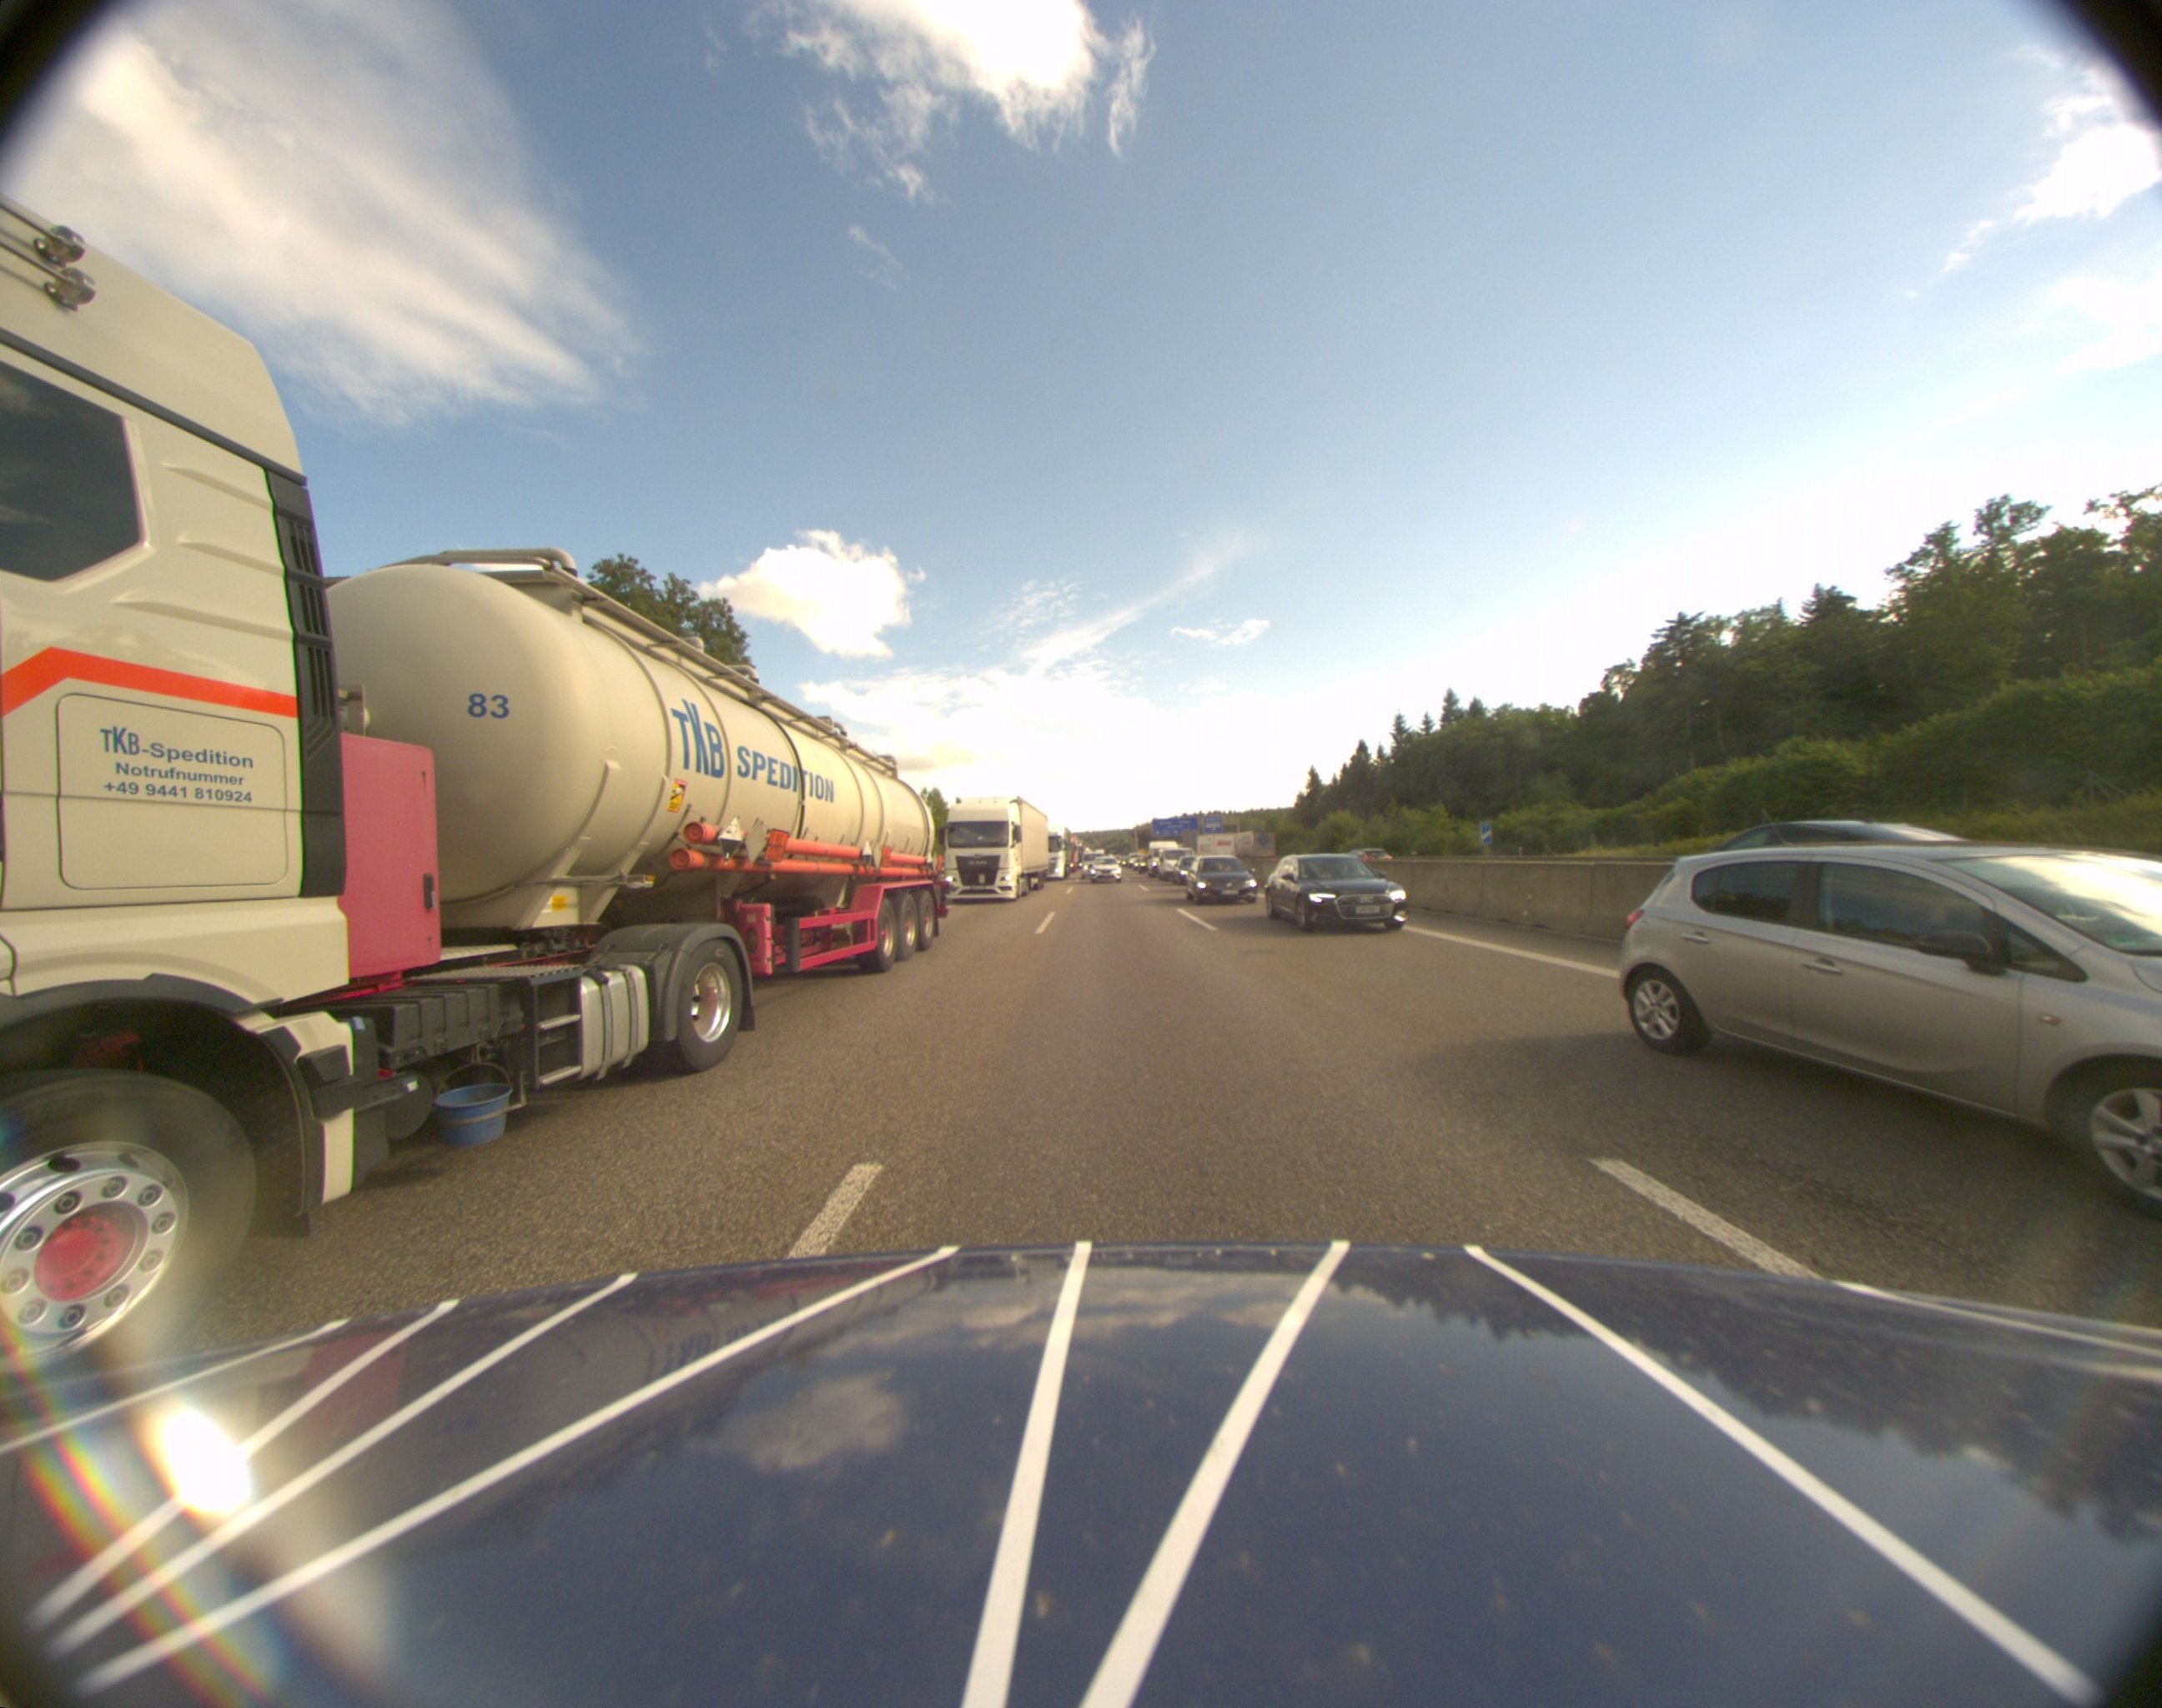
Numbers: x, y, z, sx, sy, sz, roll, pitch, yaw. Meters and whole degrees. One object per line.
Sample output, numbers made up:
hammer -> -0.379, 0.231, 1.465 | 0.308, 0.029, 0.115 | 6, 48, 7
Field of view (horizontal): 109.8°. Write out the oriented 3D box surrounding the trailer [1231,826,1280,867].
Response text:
trailer -> 22.036, -0.983, 96.870 | 2.934, 4.802, 14.652 | -2, 1, 1

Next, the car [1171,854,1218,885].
car -> 5.755, 0.754, 38.935 | 1.809, 1.423, 3.994 | -2, 0, 1

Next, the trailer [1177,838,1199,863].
trailer -> 24.082, -0.913, 171.974 | 3.050, 5.250, 13.833 | -2, 1, 1

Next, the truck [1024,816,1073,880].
truck -> -2.200, -0.383, 53.703 | 2.841, 4.177, 5.708 | -2, 0, 2

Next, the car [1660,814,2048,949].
car -> 12.461, 0.376, 12.832 | 1.857, 1.799, 4.624 | -2, 0, 1

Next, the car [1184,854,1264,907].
car -> 4.410, 0.763, 24.131 | 1.915, 1.469, 4.569 | -2, 0, 3

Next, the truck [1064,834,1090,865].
truck -> -0.410, -0.681, 108.209 | 2.840, 4.178, 12.046 | -2, 1, 3

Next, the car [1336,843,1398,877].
car -> 16.487, 0.322, 44.102 | 1.857, 1.799, 4.624 | -2, 0, 1

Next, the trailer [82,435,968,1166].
trailer -> -3.954, -0.294, 9.847 | 2.805, 4.003, 11.183 | -2, 0, 2

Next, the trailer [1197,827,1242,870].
trailer -> 17.542, -0.714, 97.096 | 3.096, 5.044, 13.833 | -2, 1, 0

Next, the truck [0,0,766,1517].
truck -> -4.201, -0.264, 3.399 | 2.809, 4.020, 5.904 | -2, 0, 2

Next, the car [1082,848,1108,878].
car -> 1.048, 0.625, 56.503 | 1.809, 2.052, 4.770 | -2, 0, 1

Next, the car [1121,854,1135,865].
car -> 6.910, 0.779, 112.087 | 1.920, 1.535, 3.811 | -2, 0, 1

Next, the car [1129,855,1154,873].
car -> 5.059, 0.827, 64.016 | 1.809, 1.423, 3.660 | -2, 0, 1

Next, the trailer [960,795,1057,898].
trailer -> -3.102, -0.335, 37.026 | 2.832, 4.047, 13.373 | -2, 0, 2

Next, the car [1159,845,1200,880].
car -> 5.914, 0.481, 46.073 | 1.947, 1.953, 4.848 | -2, 0, 1

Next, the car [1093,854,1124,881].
car -> 1.664, 0.805, 46.808 | 1.809, 1.487, 4.666 | -1, 0, 1

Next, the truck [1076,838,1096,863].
truck -> 0.930, -0.709, 136.511 | 2.840, 4.178, 12.046 | -2, 1, 3

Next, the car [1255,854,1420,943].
car -> 5.031, 0.782, 15.676 | 1.887, 1.463, 4.852 | -2, 0, 2

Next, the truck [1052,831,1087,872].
truck -> -1.112, -0.319, 84.079 | 2.840, 4.178, 12.046 | -2, 1, 3

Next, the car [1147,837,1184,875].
car -> 5.988, 0.140, 54.408 | 2.054, 2.557, 5.861 | -1, 0, 1

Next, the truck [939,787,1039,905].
truck -> -3.387, -0.301, 29.399 | 2.840, 4.048, 5.708 | -2, 0, 2

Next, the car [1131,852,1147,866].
car -> 7.632, 0.677, 100.314 | 1.920, 1.785, 3.811 | -2, 0, 1

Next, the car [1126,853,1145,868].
car -> 5.806, 0.689, 81.030 | 1.809, 1.423, 3.660 | -2, 0, 1

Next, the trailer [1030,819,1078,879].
trailer -> -1.967, -0.393, 61.128 | 2.841, 4.177, 13.614 | -2, 0, 2

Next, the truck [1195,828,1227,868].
truck -> 17.587, -0.844, 103.264 | 3.096, 5.072, 7.140 | -2, 1, 1

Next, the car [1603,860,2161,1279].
car -> 4.784, 0.789, 3.698 | 1.751, 1.457, 4.041 | -1, 0, 1
